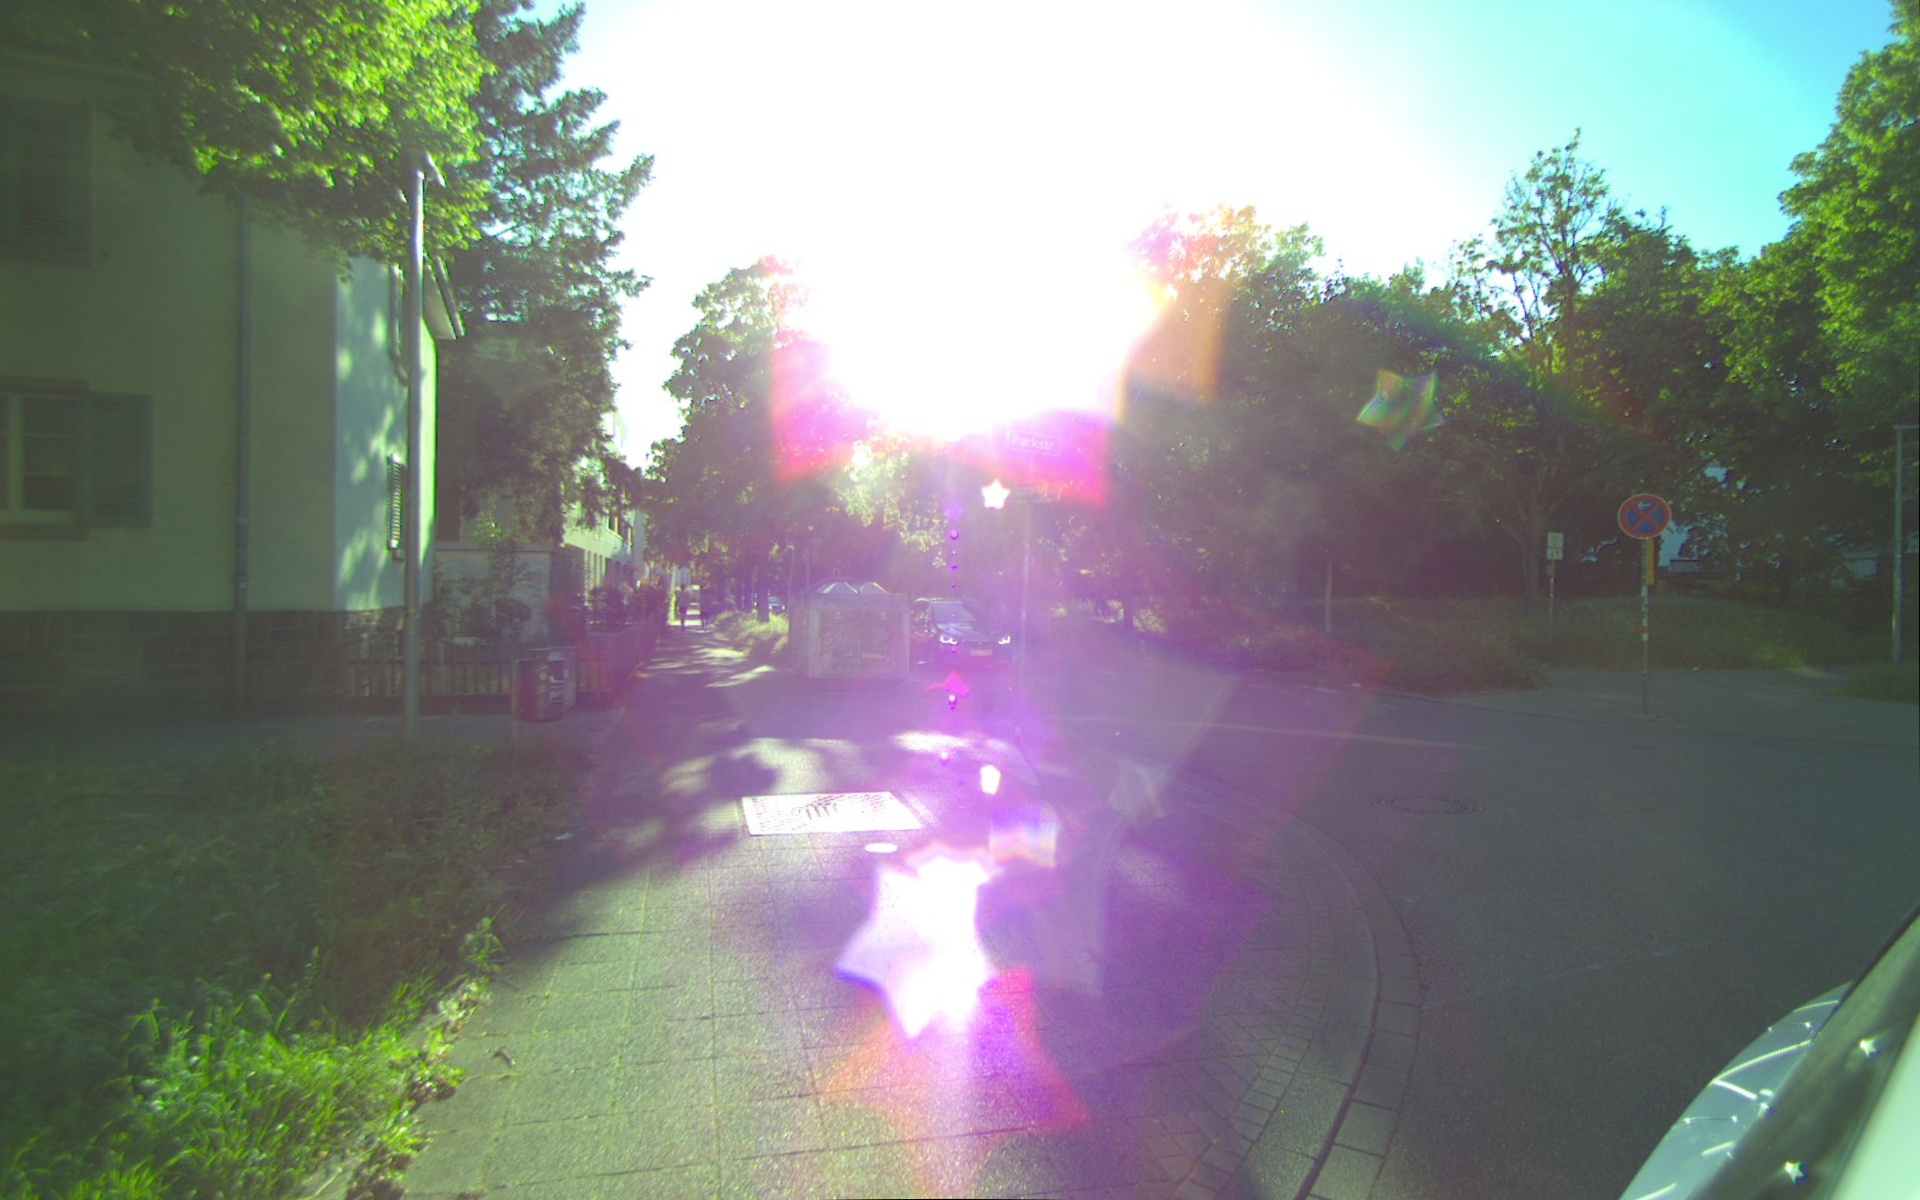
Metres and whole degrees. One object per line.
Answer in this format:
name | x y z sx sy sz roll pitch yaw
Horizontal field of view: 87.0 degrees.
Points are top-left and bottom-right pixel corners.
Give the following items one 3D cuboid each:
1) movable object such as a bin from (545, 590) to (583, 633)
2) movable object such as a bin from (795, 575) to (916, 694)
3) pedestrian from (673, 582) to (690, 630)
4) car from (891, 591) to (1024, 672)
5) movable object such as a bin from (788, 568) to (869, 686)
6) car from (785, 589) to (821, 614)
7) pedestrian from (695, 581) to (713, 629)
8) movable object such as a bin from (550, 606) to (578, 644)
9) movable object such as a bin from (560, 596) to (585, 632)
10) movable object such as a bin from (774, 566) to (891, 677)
movable object such as a bin | -13.893 0.387 35.524 1.059 1.445 1.369 2 0 -16
movable object such as a bin | -1.616 0.470 15.321 1.558 1.678 1.643 -1 1 -15
pedestrian | -11.285 0.222 41.025 0.631 1.917 1.020 -1 1 -15
car | -0.190 0.633 23.534 1.851 1.642 4.629 -1 1 -17
movable object such as a bin | -2.202 0.413 16.758 1.126 1.850 1.389 -1 1 -15
car | -10.380 0.089 66.694 1.958 1.559 4.008 -1 1 -13
pedestrian | -10.433 0.203 41.264 0.661 1.917 0.897 -1 1 -15
movable object such as a bin | -11.189 0.698 28.606 0.631 1.042 0.646 2 0 -16
movable object such as a bin | -11.652 0.414 30.431 0.603 1.042 0.596 2 0 -16
movable object such as a bin | -2.307 0.345 18.164 1.886 1.876 1.396 -1 1 -15
